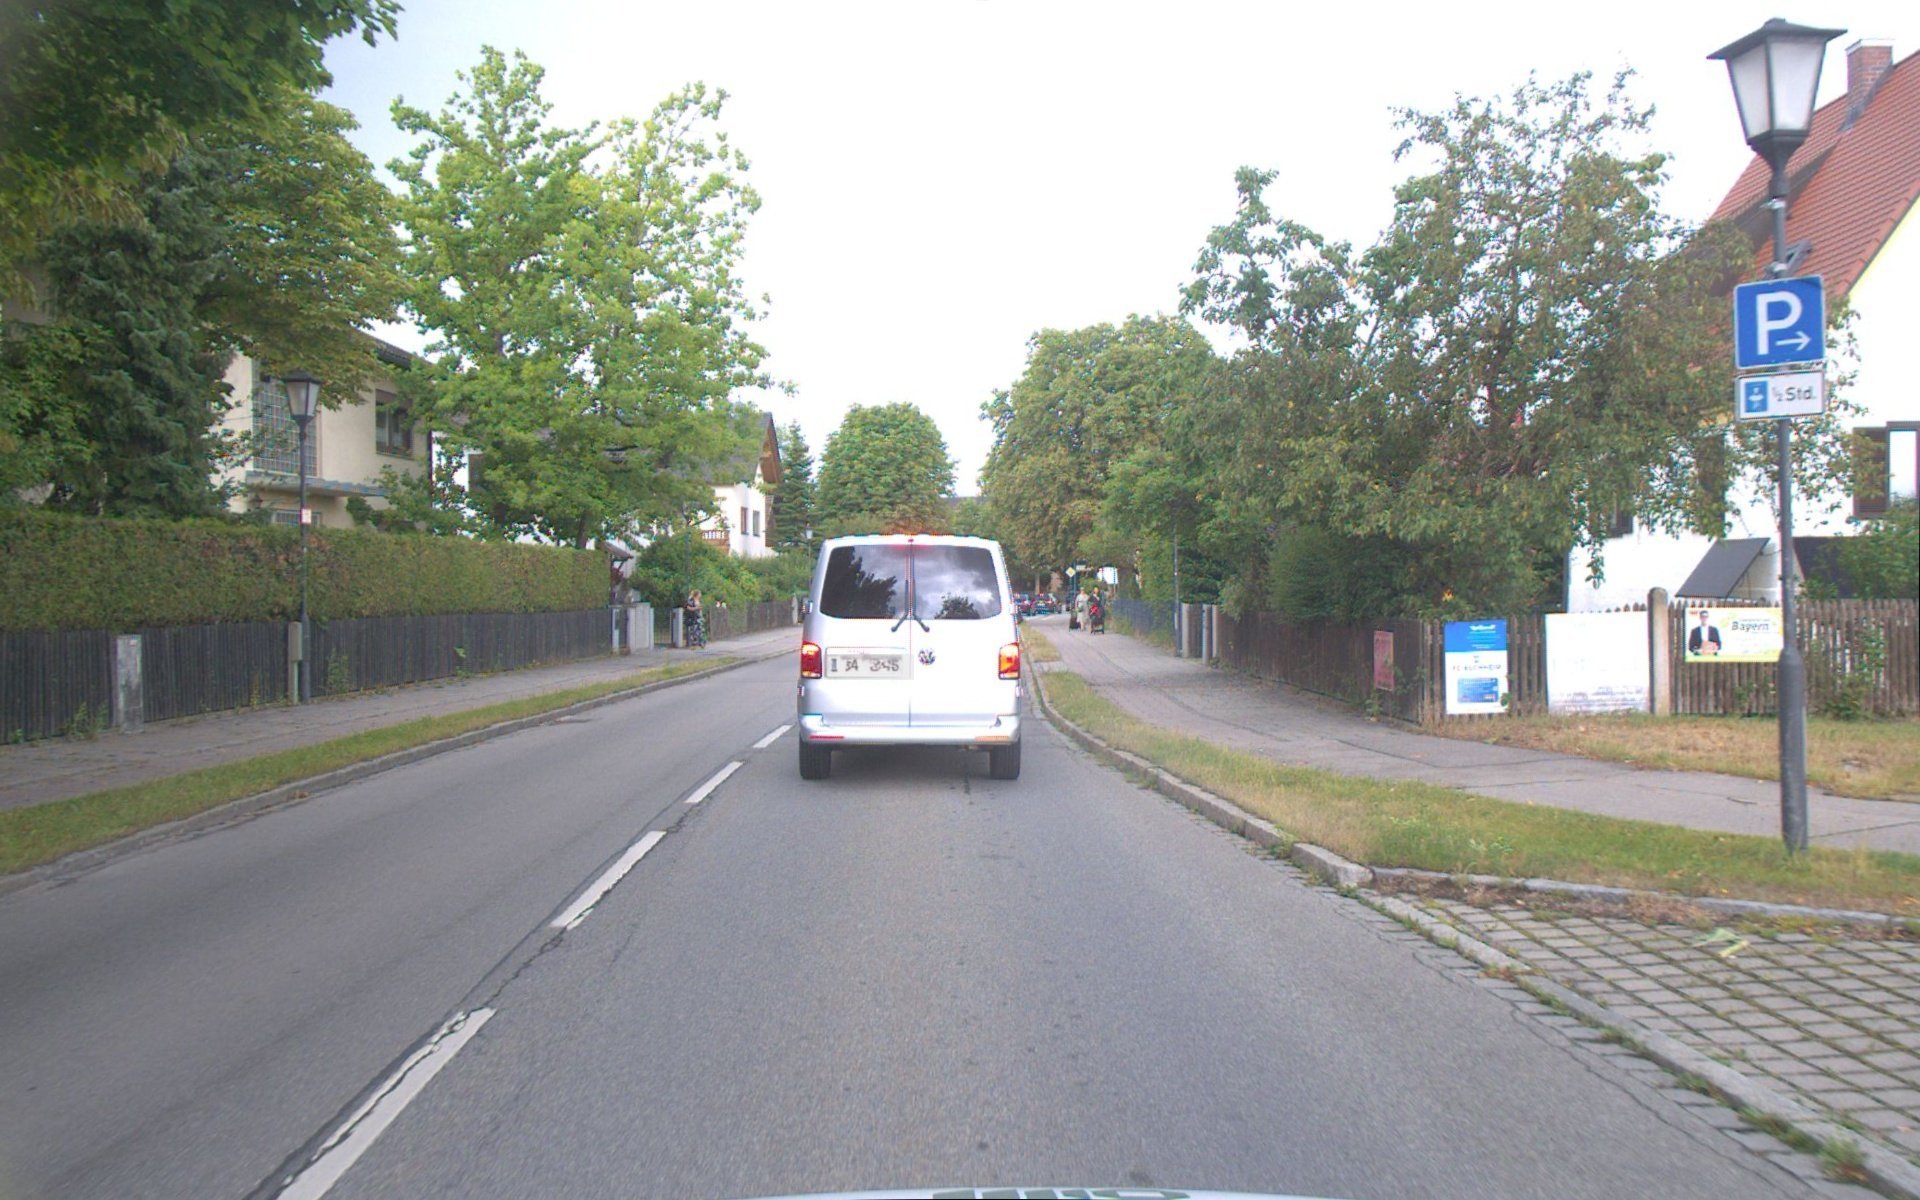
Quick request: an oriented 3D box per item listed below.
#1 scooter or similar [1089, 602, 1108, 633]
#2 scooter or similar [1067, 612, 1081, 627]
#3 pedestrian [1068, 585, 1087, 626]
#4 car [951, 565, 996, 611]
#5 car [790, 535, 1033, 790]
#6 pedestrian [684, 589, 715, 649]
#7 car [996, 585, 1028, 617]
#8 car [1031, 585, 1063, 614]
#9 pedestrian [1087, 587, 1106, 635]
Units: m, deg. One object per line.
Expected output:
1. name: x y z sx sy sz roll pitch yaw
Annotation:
1. scooter or similar: 4.534 0.573 54.198 0.540 0.988 0.620 1 0 -3
2. scooter or similar: 4.325 0.725 62.907 0.465 0.554 0.458 1 0 -3
3. pedestrian: 4.418 0.210 62.280 0.610 1.550 0.579 1 0 -3
4. car: 0.660 -0.533 77.102 1.952 2.049 4.001 1 0 2
5. car: -0.351 0.483 14.717 1.849 1.945 4.000 0 0 1
6. pedestrian: -6.918 0.500 43.948 0.511 1.576 0.623 1 0 32
7. car: 3.465 0.068 109.180 1.951 2.049 4.002 -1 0 4
8. car: 6.302 -0.054 118.983 1.951 2.049 4.003 -1 0 8
9. pedestrian: 4.543 0.351 54.968 0.540 1.576 0.612 1 0 -3
